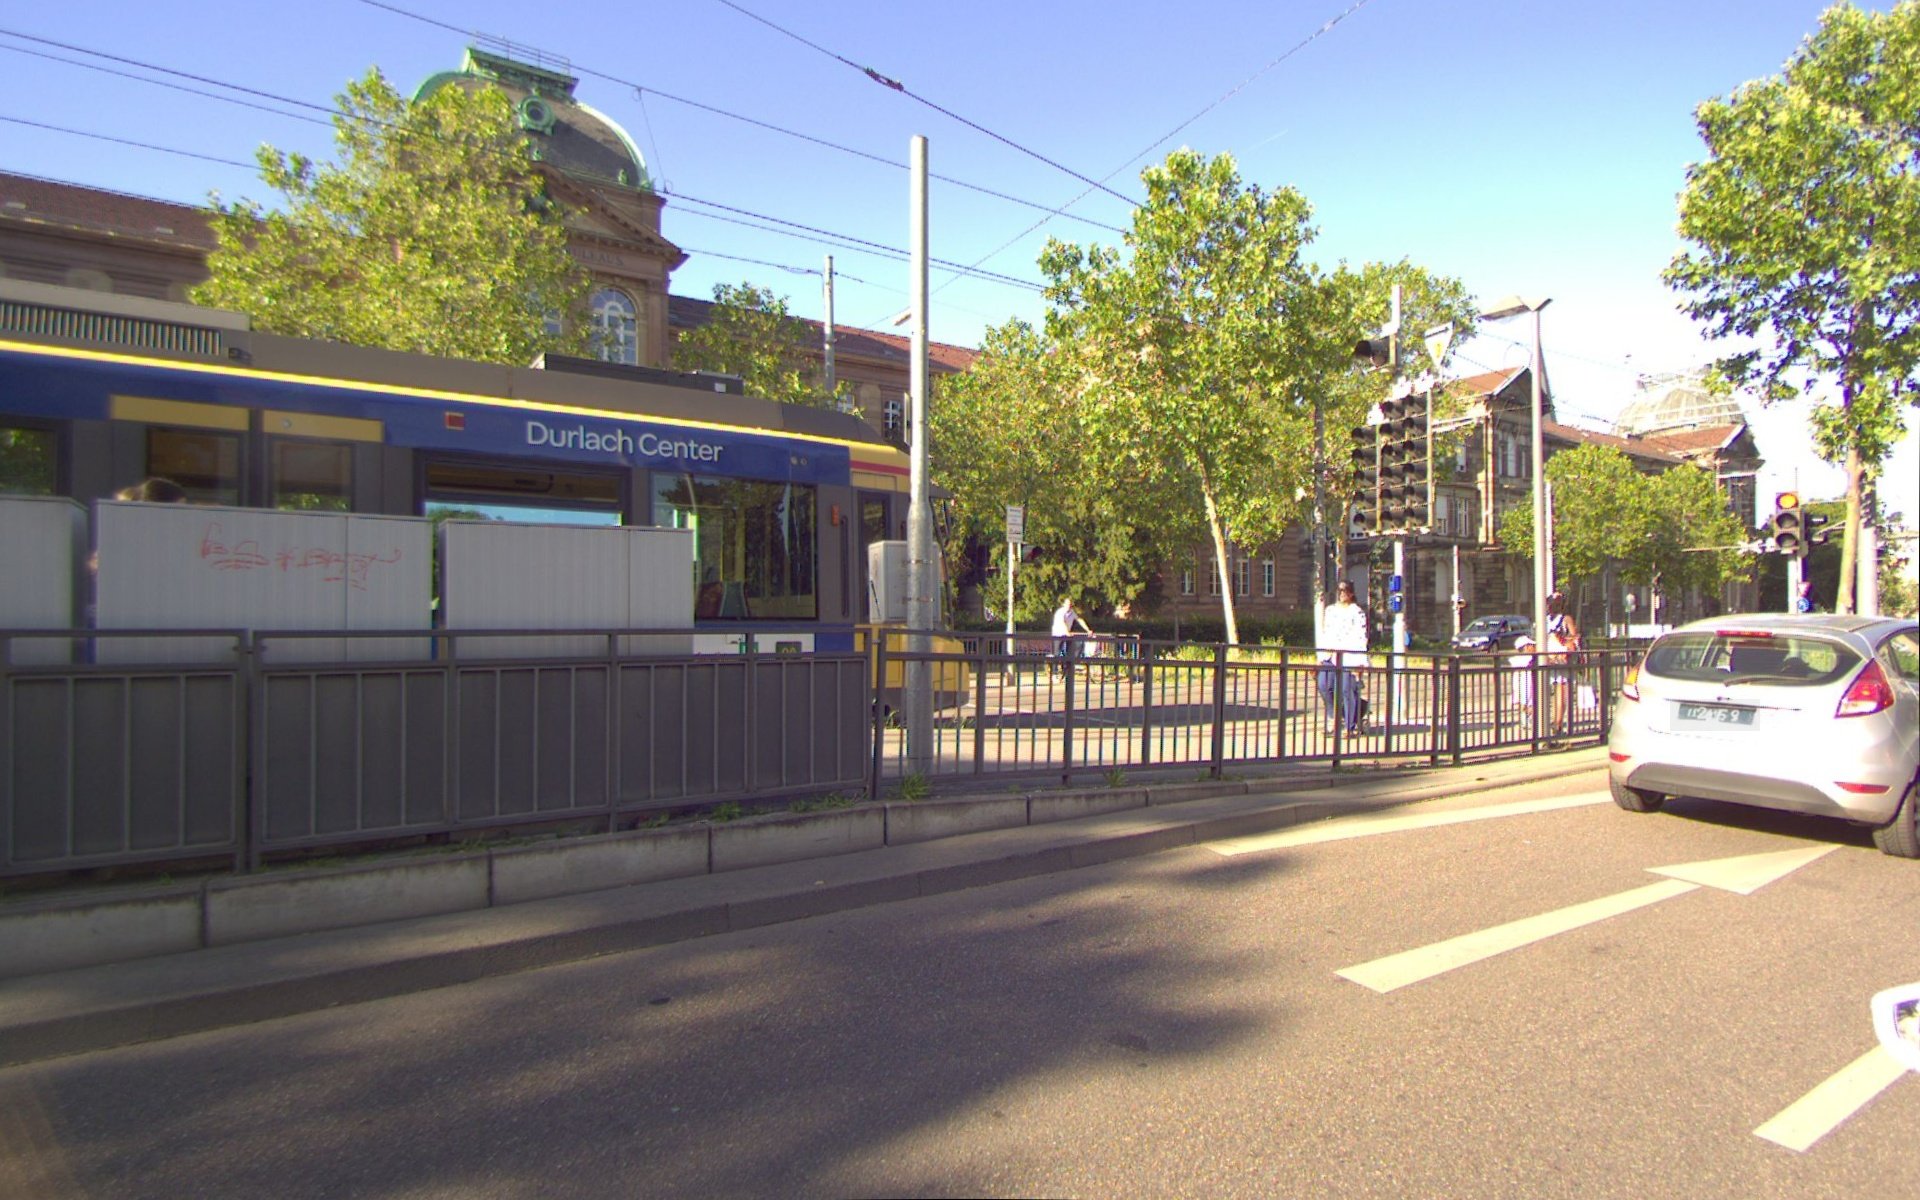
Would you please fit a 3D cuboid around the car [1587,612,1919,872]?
[{"bbox_3d":[6.326,0.834,7.265,3.592,1.428,1.651,1,0,-32],"label":"car"}]

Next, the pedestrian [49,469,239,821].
[{"bbox_3d":[-4.351,0.228,5.404,0.740,1.724,0.628,1,-2,-37],"label":"pedestrian"}]

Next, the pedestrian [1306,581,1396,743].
[{"bbox_3d":[4.139,0.655,10.638,0.635,1.640,0.635,4,-3,-37],"label":"pedestrian"}]

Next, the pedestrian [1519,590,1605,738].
[{"bbox_3d":[6.706,0.692,11.201,0.641,1.577,0.626,1,-1,-38],"label":"pedestrian"}]

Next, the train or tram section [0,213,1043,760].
[{"bbox_3d":[-5.331,-0.655,8.132,12.977,3.303,2.896,2,0,-34],"label":"train or tram section"}]

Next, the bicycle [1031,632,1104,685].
[{"bbox_3d":[2.193,1.182,20.681,0.644,0.976,1.553,2,0,-32],"label":"bicycle"}]

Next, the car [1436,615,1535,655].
[{"bbox_3d":[22.521,1.460,42.998,3.953,1.646,1.984,1,-1,-30],"label":"car"}]

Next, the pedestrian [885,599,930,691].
[{"bbox_3d":[-0.947,0.799,18.017,0.634,1.623,0.529,0,-1,-30],"label":"pedestrian"}]

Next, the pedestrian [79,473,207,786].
[{"bbox_3d":[-4.797,0.171,5.931,0.541,1.724,0.604,1,-1,-37],"label":"pedestrian"}]

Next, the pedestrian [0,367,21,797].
[{"bbox_3d":[-4.255,-0.064,4.103,0.535,1.757,0.544,1,-1,-37],"label":"pedestrian"}]

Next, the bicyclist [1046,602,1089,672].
[{"bbox_3d":[2.206,0.749,20.613,0.643,1.404,0.562,2,0,-33],"label":"bicyclist"}]
